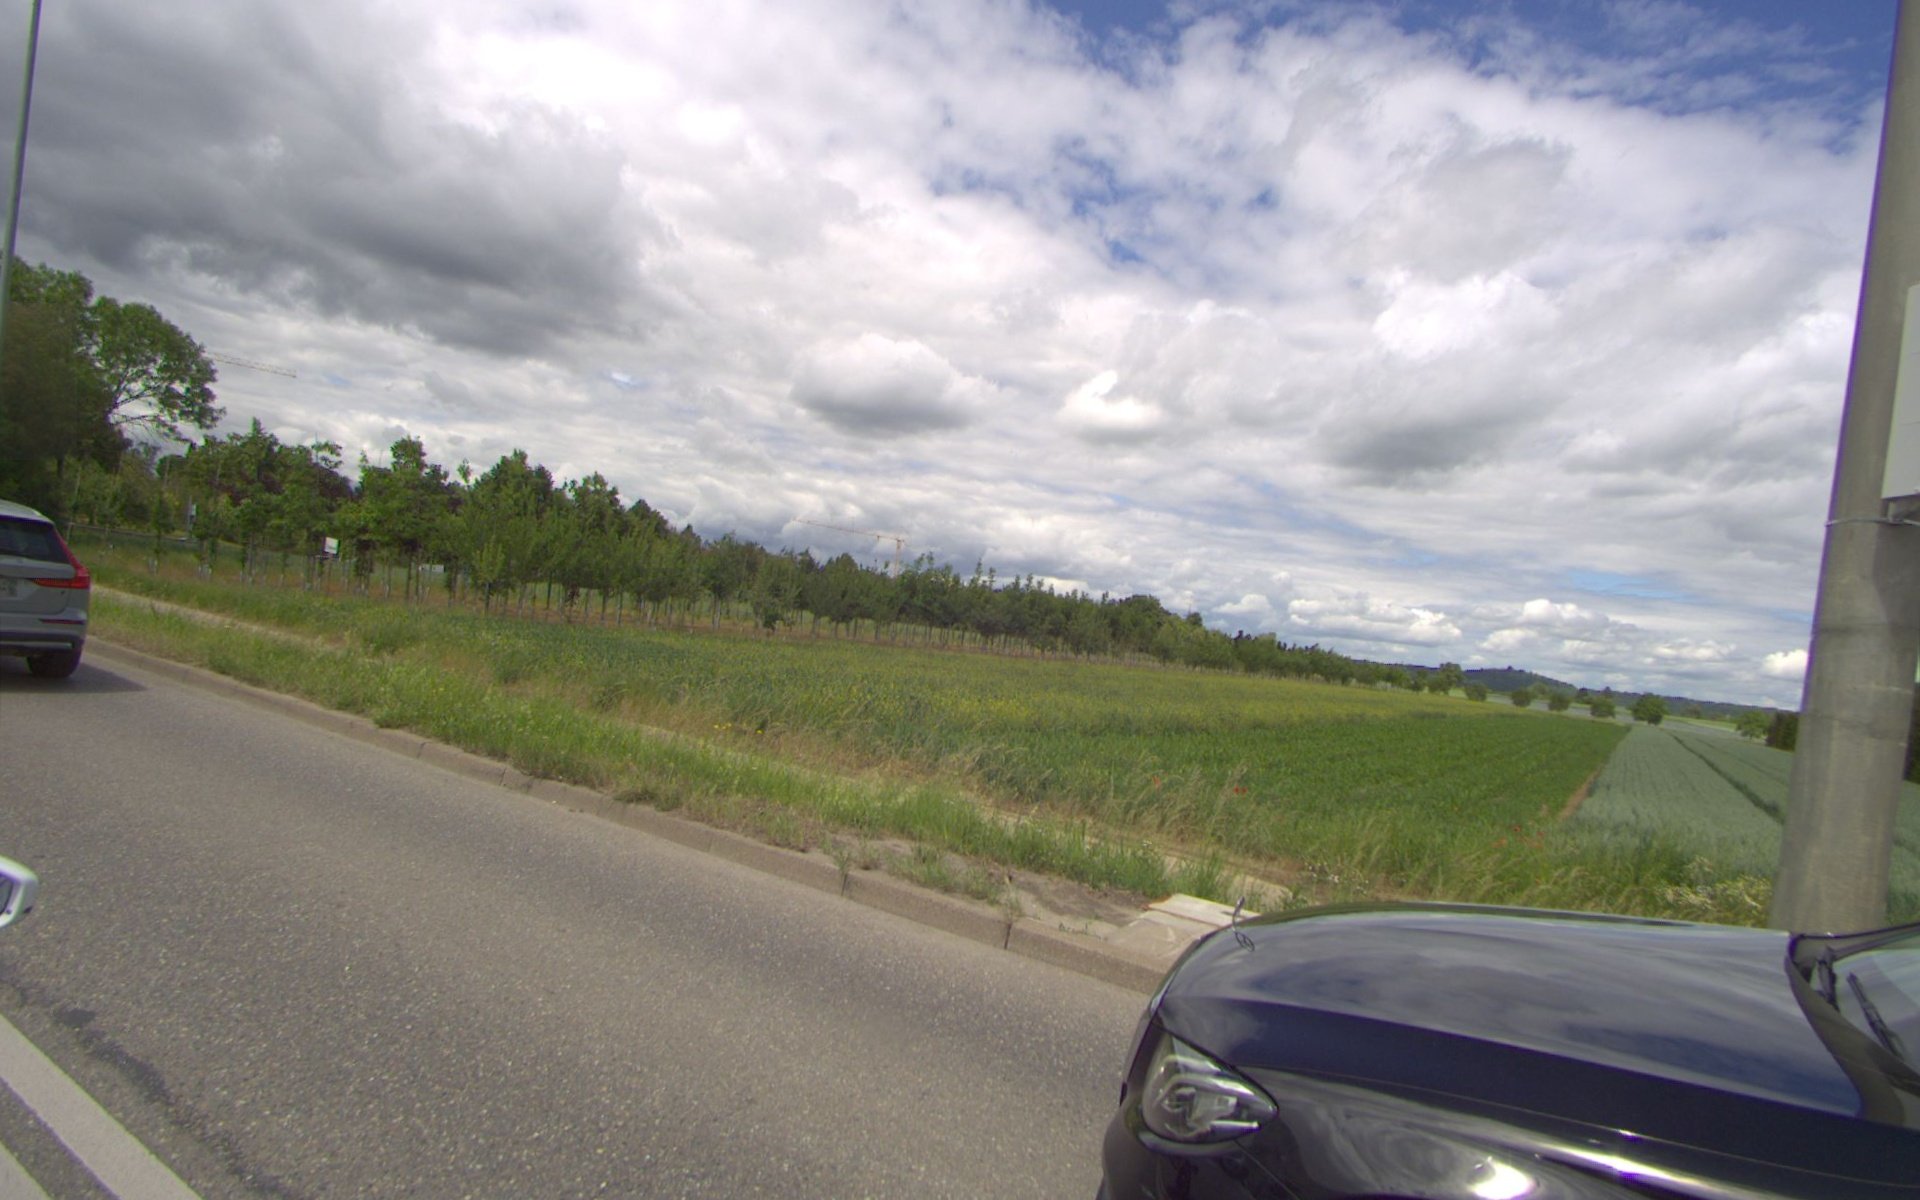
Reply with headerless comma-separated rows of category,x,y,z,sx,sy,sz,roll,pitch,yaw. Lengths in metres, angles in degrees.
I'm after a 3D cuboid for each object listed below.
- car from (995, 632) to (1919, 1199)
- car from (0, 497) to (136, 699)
car,2.747,1.118,1.362,5.113,1.458,1.875,7,-1,31
car,-9.244,-0.238,8.674,4.372,1.536,1.866,7,-1,31
